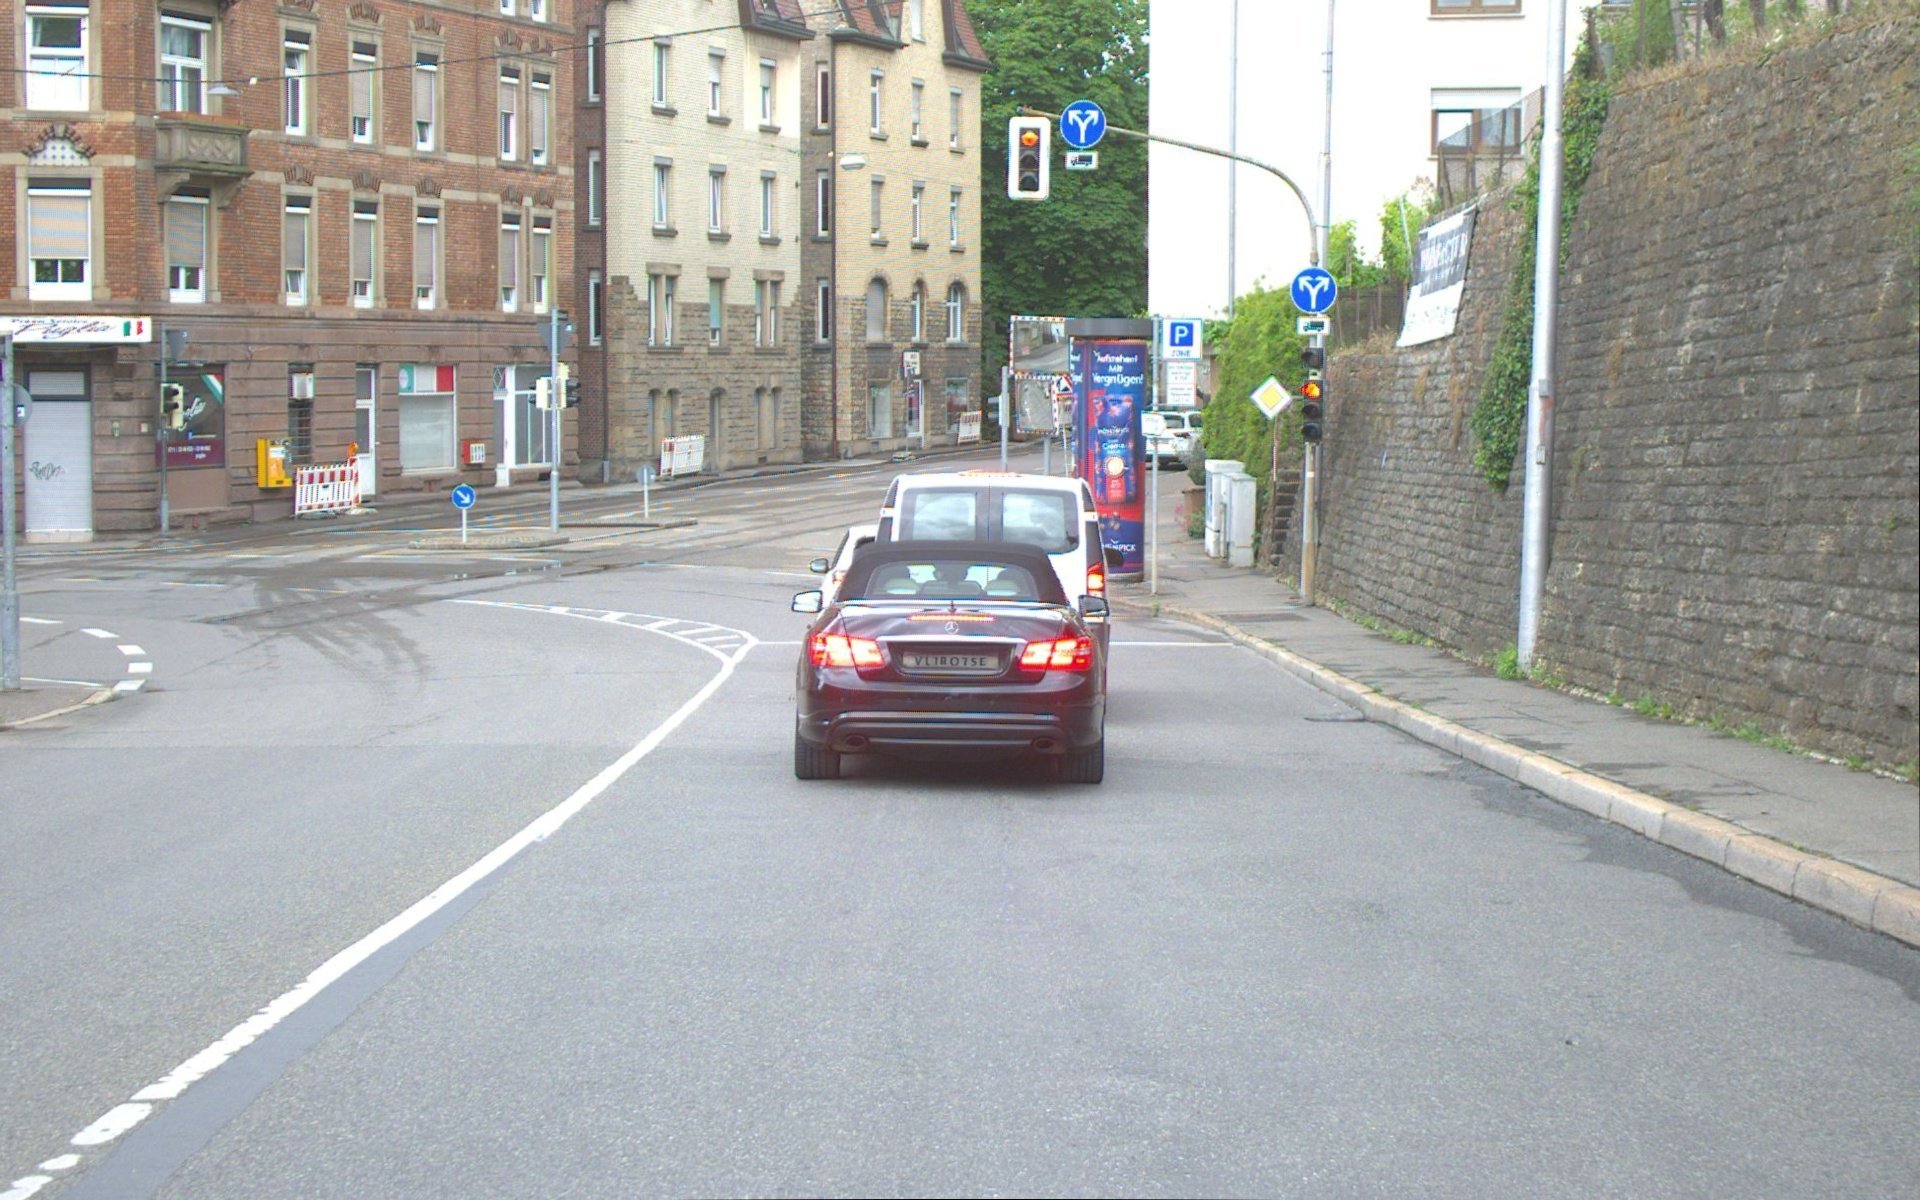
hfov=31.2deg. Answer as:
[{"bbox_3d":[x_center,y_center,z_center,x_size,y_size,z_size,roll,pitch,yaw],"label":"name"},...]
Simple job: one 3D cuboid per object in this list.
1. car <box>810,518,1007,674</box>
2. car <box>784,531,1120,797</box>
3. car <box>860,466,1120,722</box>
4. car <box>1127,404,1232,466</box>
[{"bbox_3d":[-0.523,-0.082,34.542,1.841,1.436,4.000,1,1,-1],"label":"car"},{"bbox_3d":[-0.078,0.311,20.825,1.816,1.425,4.000,1,1,-1],"label":"car"},{"bbox_3d":[0.187,-0.097,27.722,1.909,1.877,4.000,1,1,-1],"label":"car"},{"bbox_3d":[6.260,-4.701,97.605,1.843,1.696,3.996,1,3,21],"label":"car"}]
